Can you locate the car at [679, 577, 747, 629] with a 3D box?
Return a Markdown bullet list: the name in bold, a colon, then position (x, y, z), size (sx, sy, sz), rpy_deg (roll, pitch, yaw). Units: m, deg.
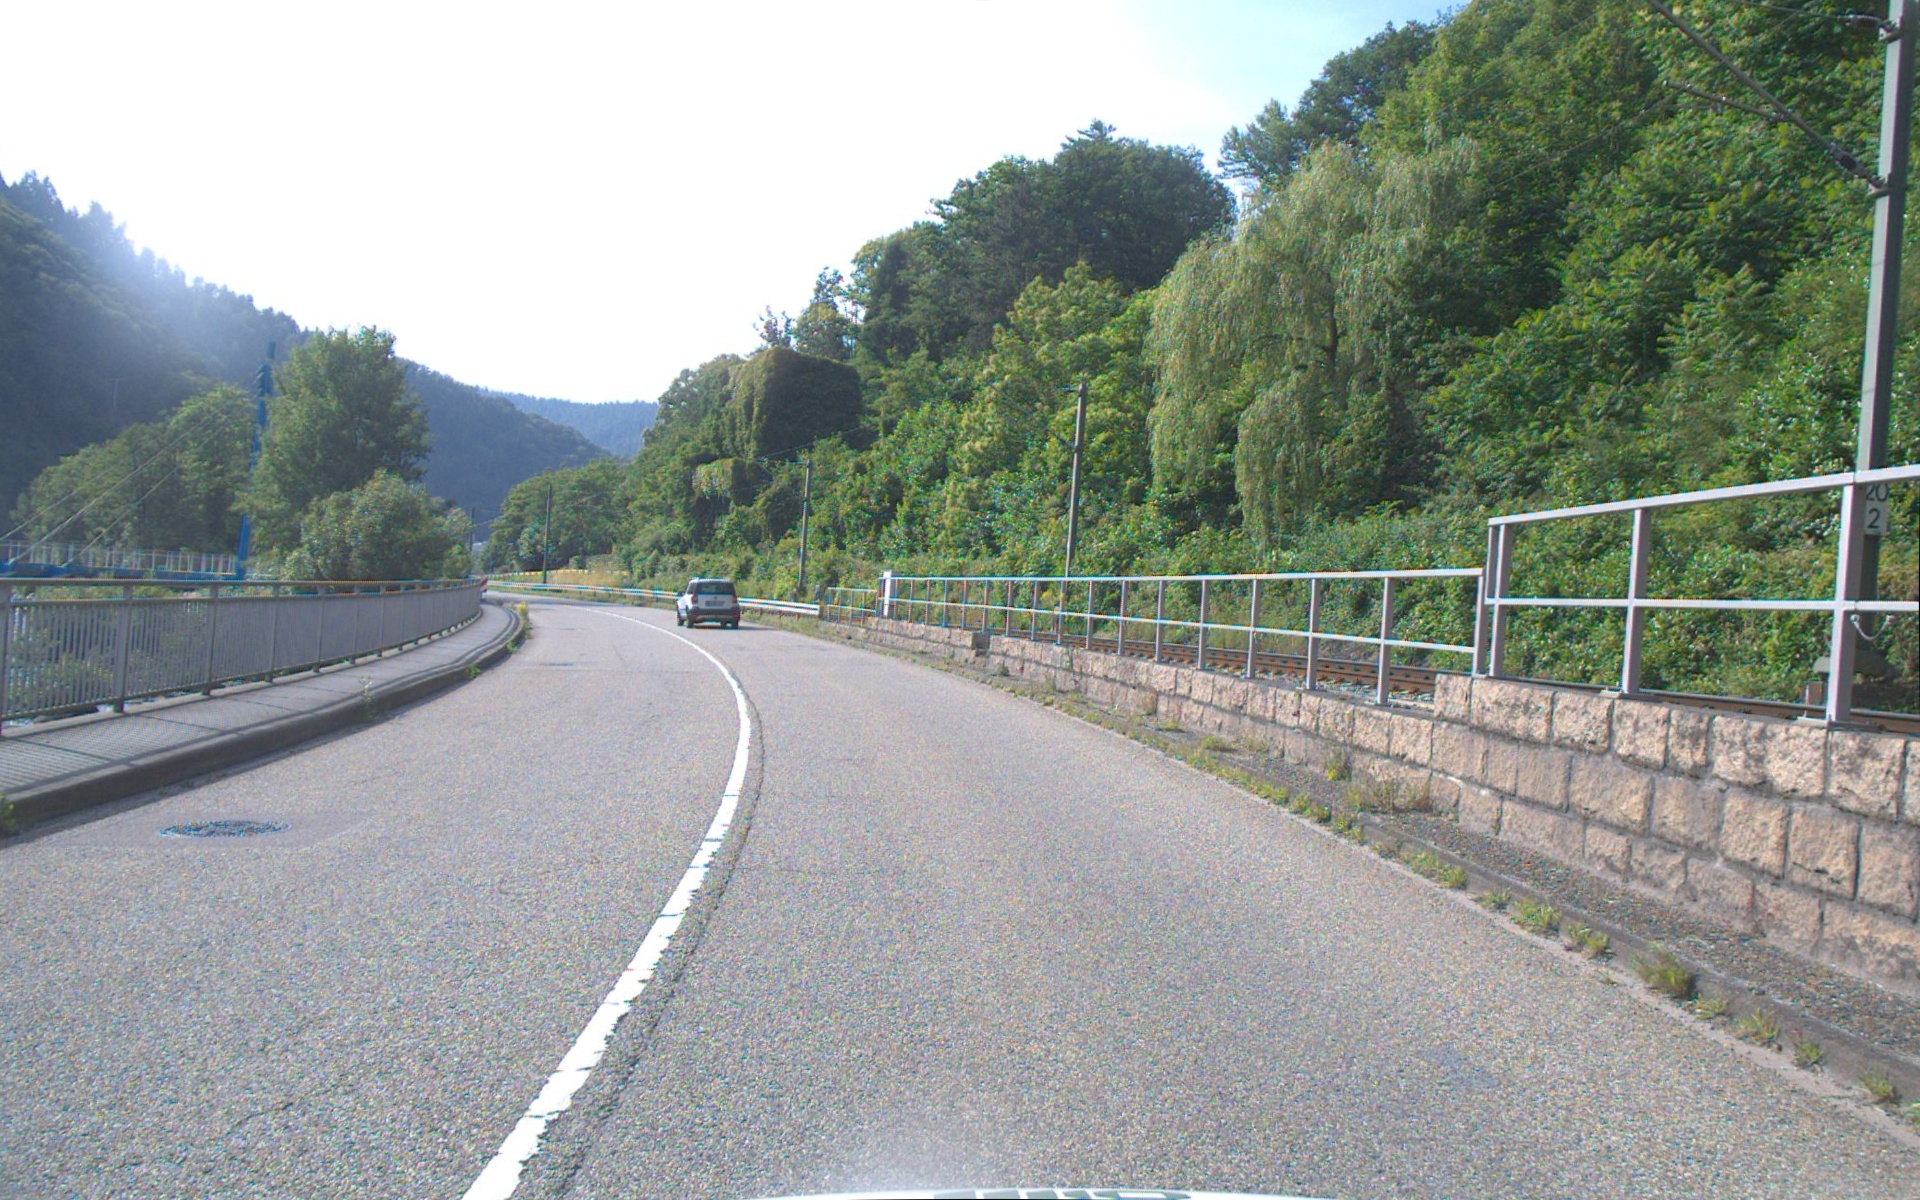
- **car**: position (-8.492, 0.062, 56.629), size (1.842, 1.684, 3.984), rpy_deg (1, 0, -15)
